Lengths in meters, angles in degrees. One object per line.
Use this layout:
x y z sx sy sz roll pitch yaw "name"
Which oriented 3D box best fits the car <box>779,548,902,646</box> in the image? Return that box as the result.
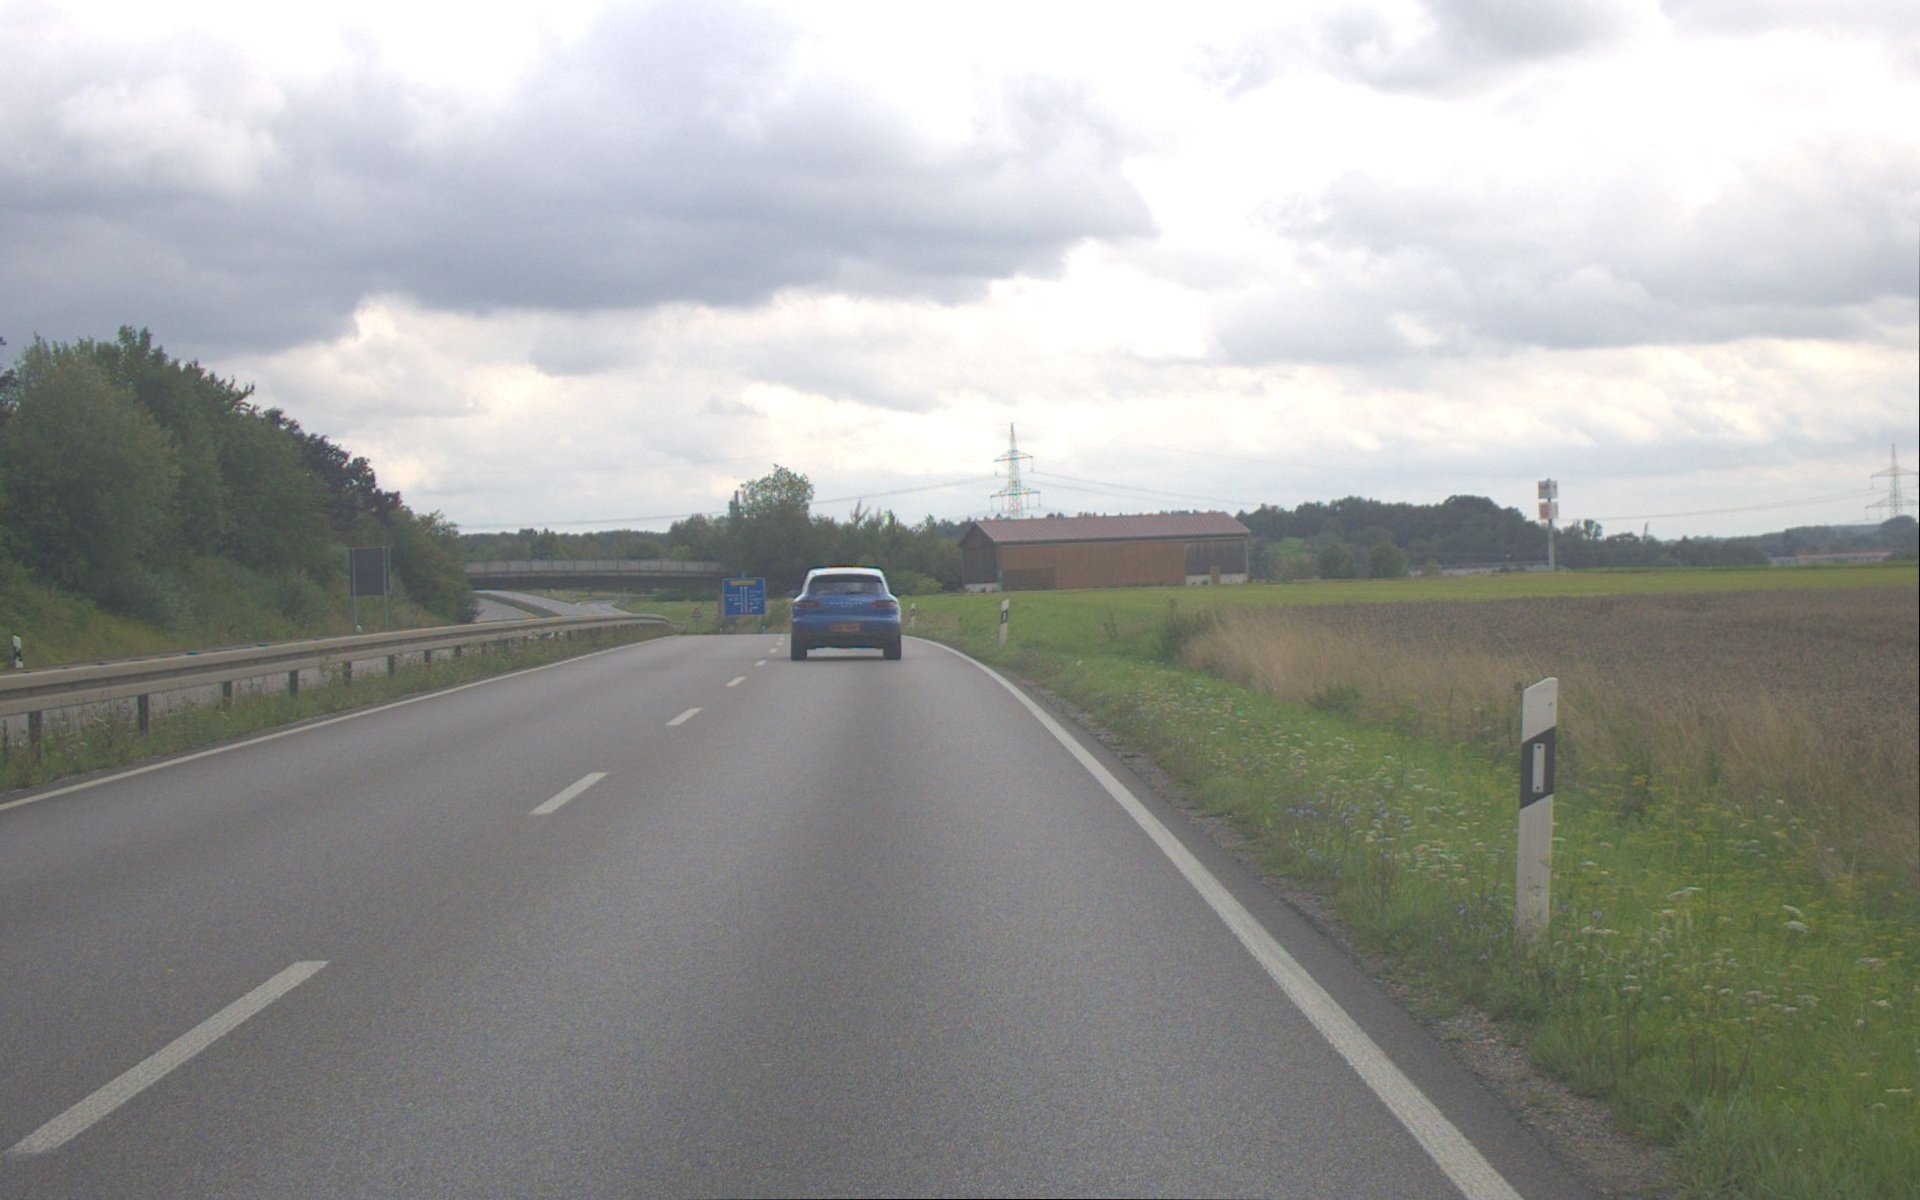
-2.085 -0.088 61.083 2.033 1.655 4.543 0 1 0 "car"
